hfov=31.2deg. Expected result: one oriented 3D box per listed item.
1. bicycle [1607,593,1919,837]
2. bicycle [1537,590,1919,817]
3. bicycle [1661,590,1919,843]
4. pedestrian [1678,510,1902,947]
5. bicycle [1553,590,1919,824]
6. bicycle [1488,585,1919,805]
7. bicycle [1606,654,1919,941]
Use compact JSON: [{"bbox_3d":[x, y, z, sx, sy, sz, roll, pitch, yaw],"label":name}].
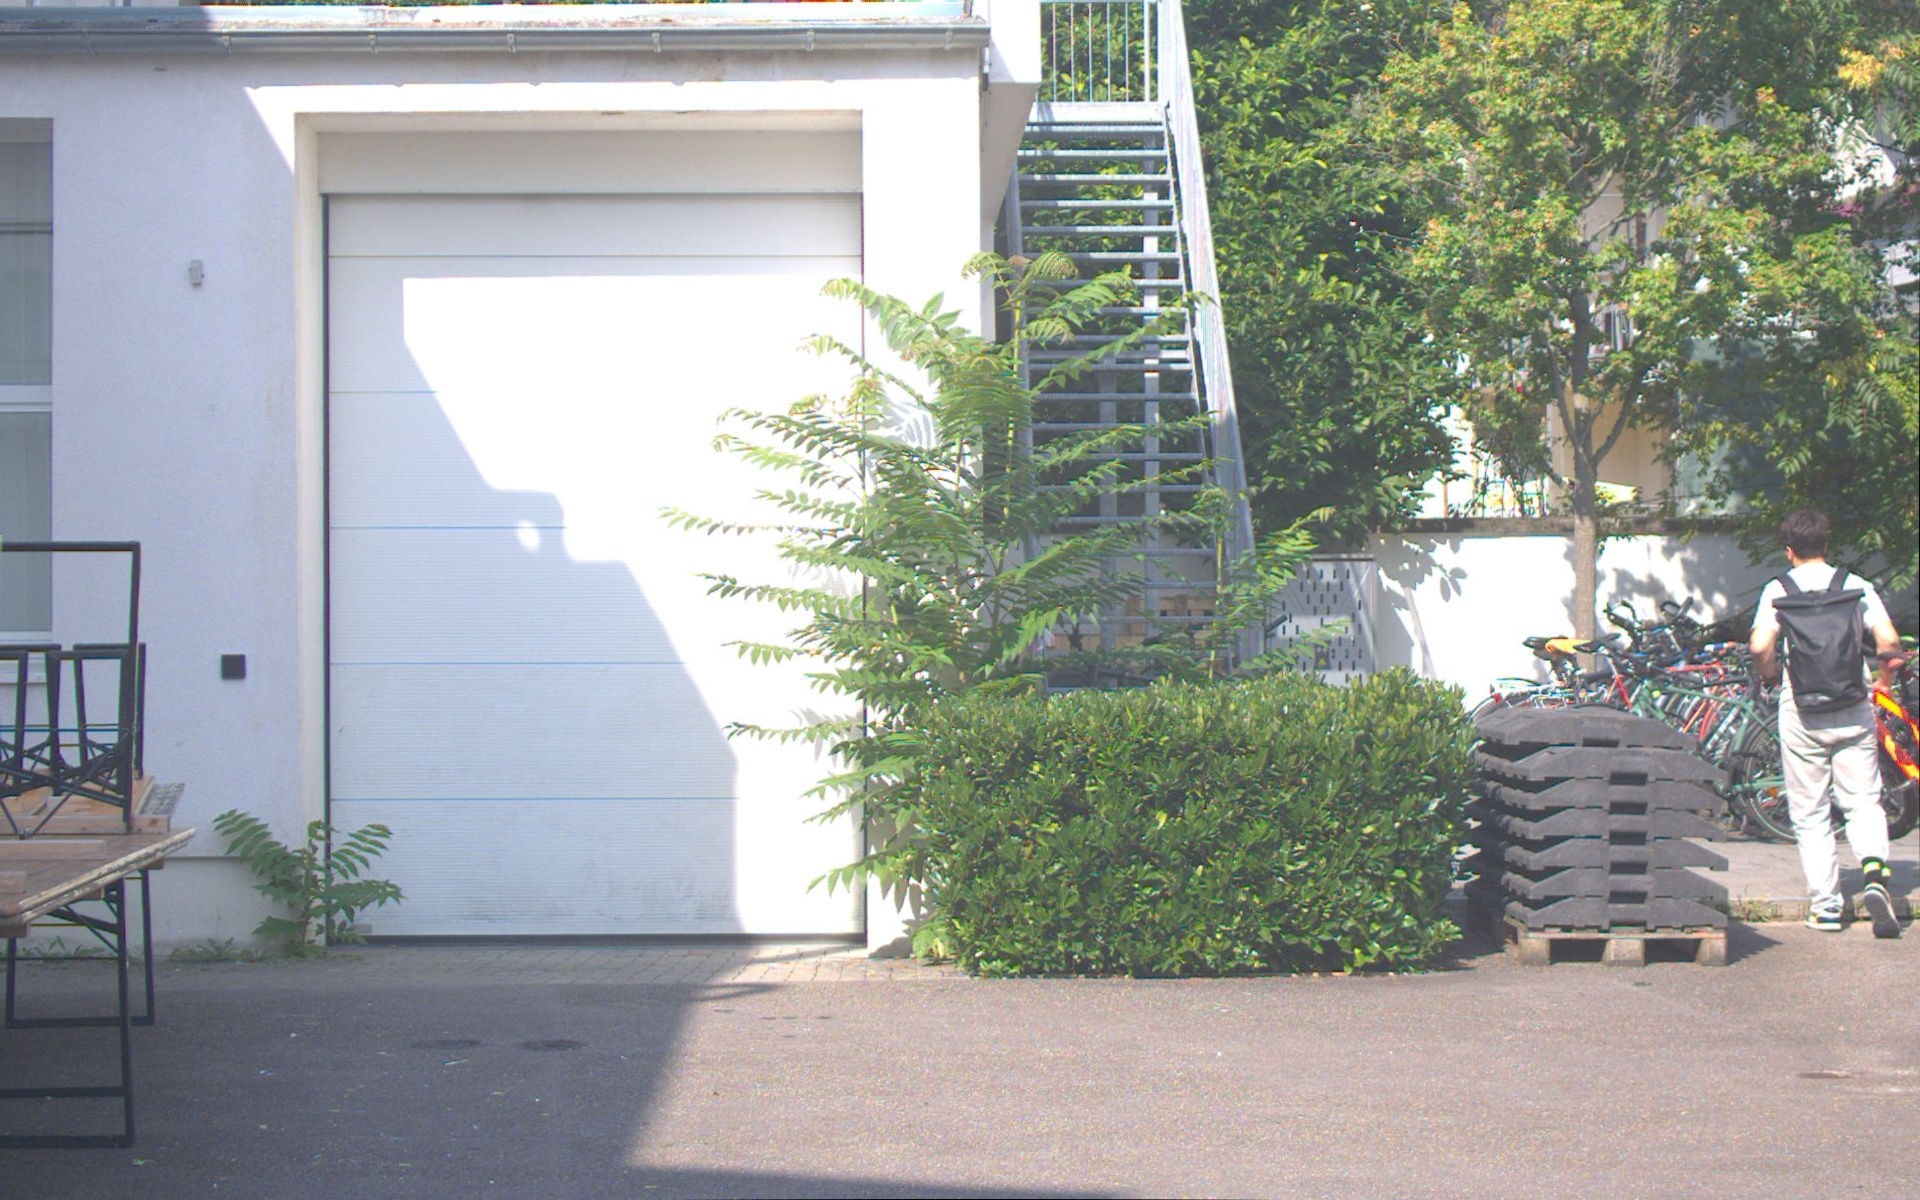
[{"bbox_3d":[4.658,0.600,18.023,2.411,1.242,0.526,1,0,-1],"label":"bicycle"},{"bbox_3d":[4.521,0.578,19.434,2.411,1.242,0.526,1,0,-1],"label":"bicycle"},{"bbox_3d":[4.808,0.586,17.364,2.411,1.242,0.526,1,0,-1],"label":"bicycle"},{"bbox_3d":[3.489,0.514,14.429,0.610,1.765,0.859,1,1,36],"label":"pedestrian"},{"bbox_3d":[4.504,0.578,18.817,2.411,1.242,0.526,1,0,-1],"label":"bicycle"},{"bbox_3d":[4.350,0.550,20.146,2.411,1.242,0.526,1,0,-1],"label":"bicycle"},{"bbox_3d":[3.742,0.816,14.454,1.991,1.140,0.489,0,1,37],"label":"bicycle"}]
